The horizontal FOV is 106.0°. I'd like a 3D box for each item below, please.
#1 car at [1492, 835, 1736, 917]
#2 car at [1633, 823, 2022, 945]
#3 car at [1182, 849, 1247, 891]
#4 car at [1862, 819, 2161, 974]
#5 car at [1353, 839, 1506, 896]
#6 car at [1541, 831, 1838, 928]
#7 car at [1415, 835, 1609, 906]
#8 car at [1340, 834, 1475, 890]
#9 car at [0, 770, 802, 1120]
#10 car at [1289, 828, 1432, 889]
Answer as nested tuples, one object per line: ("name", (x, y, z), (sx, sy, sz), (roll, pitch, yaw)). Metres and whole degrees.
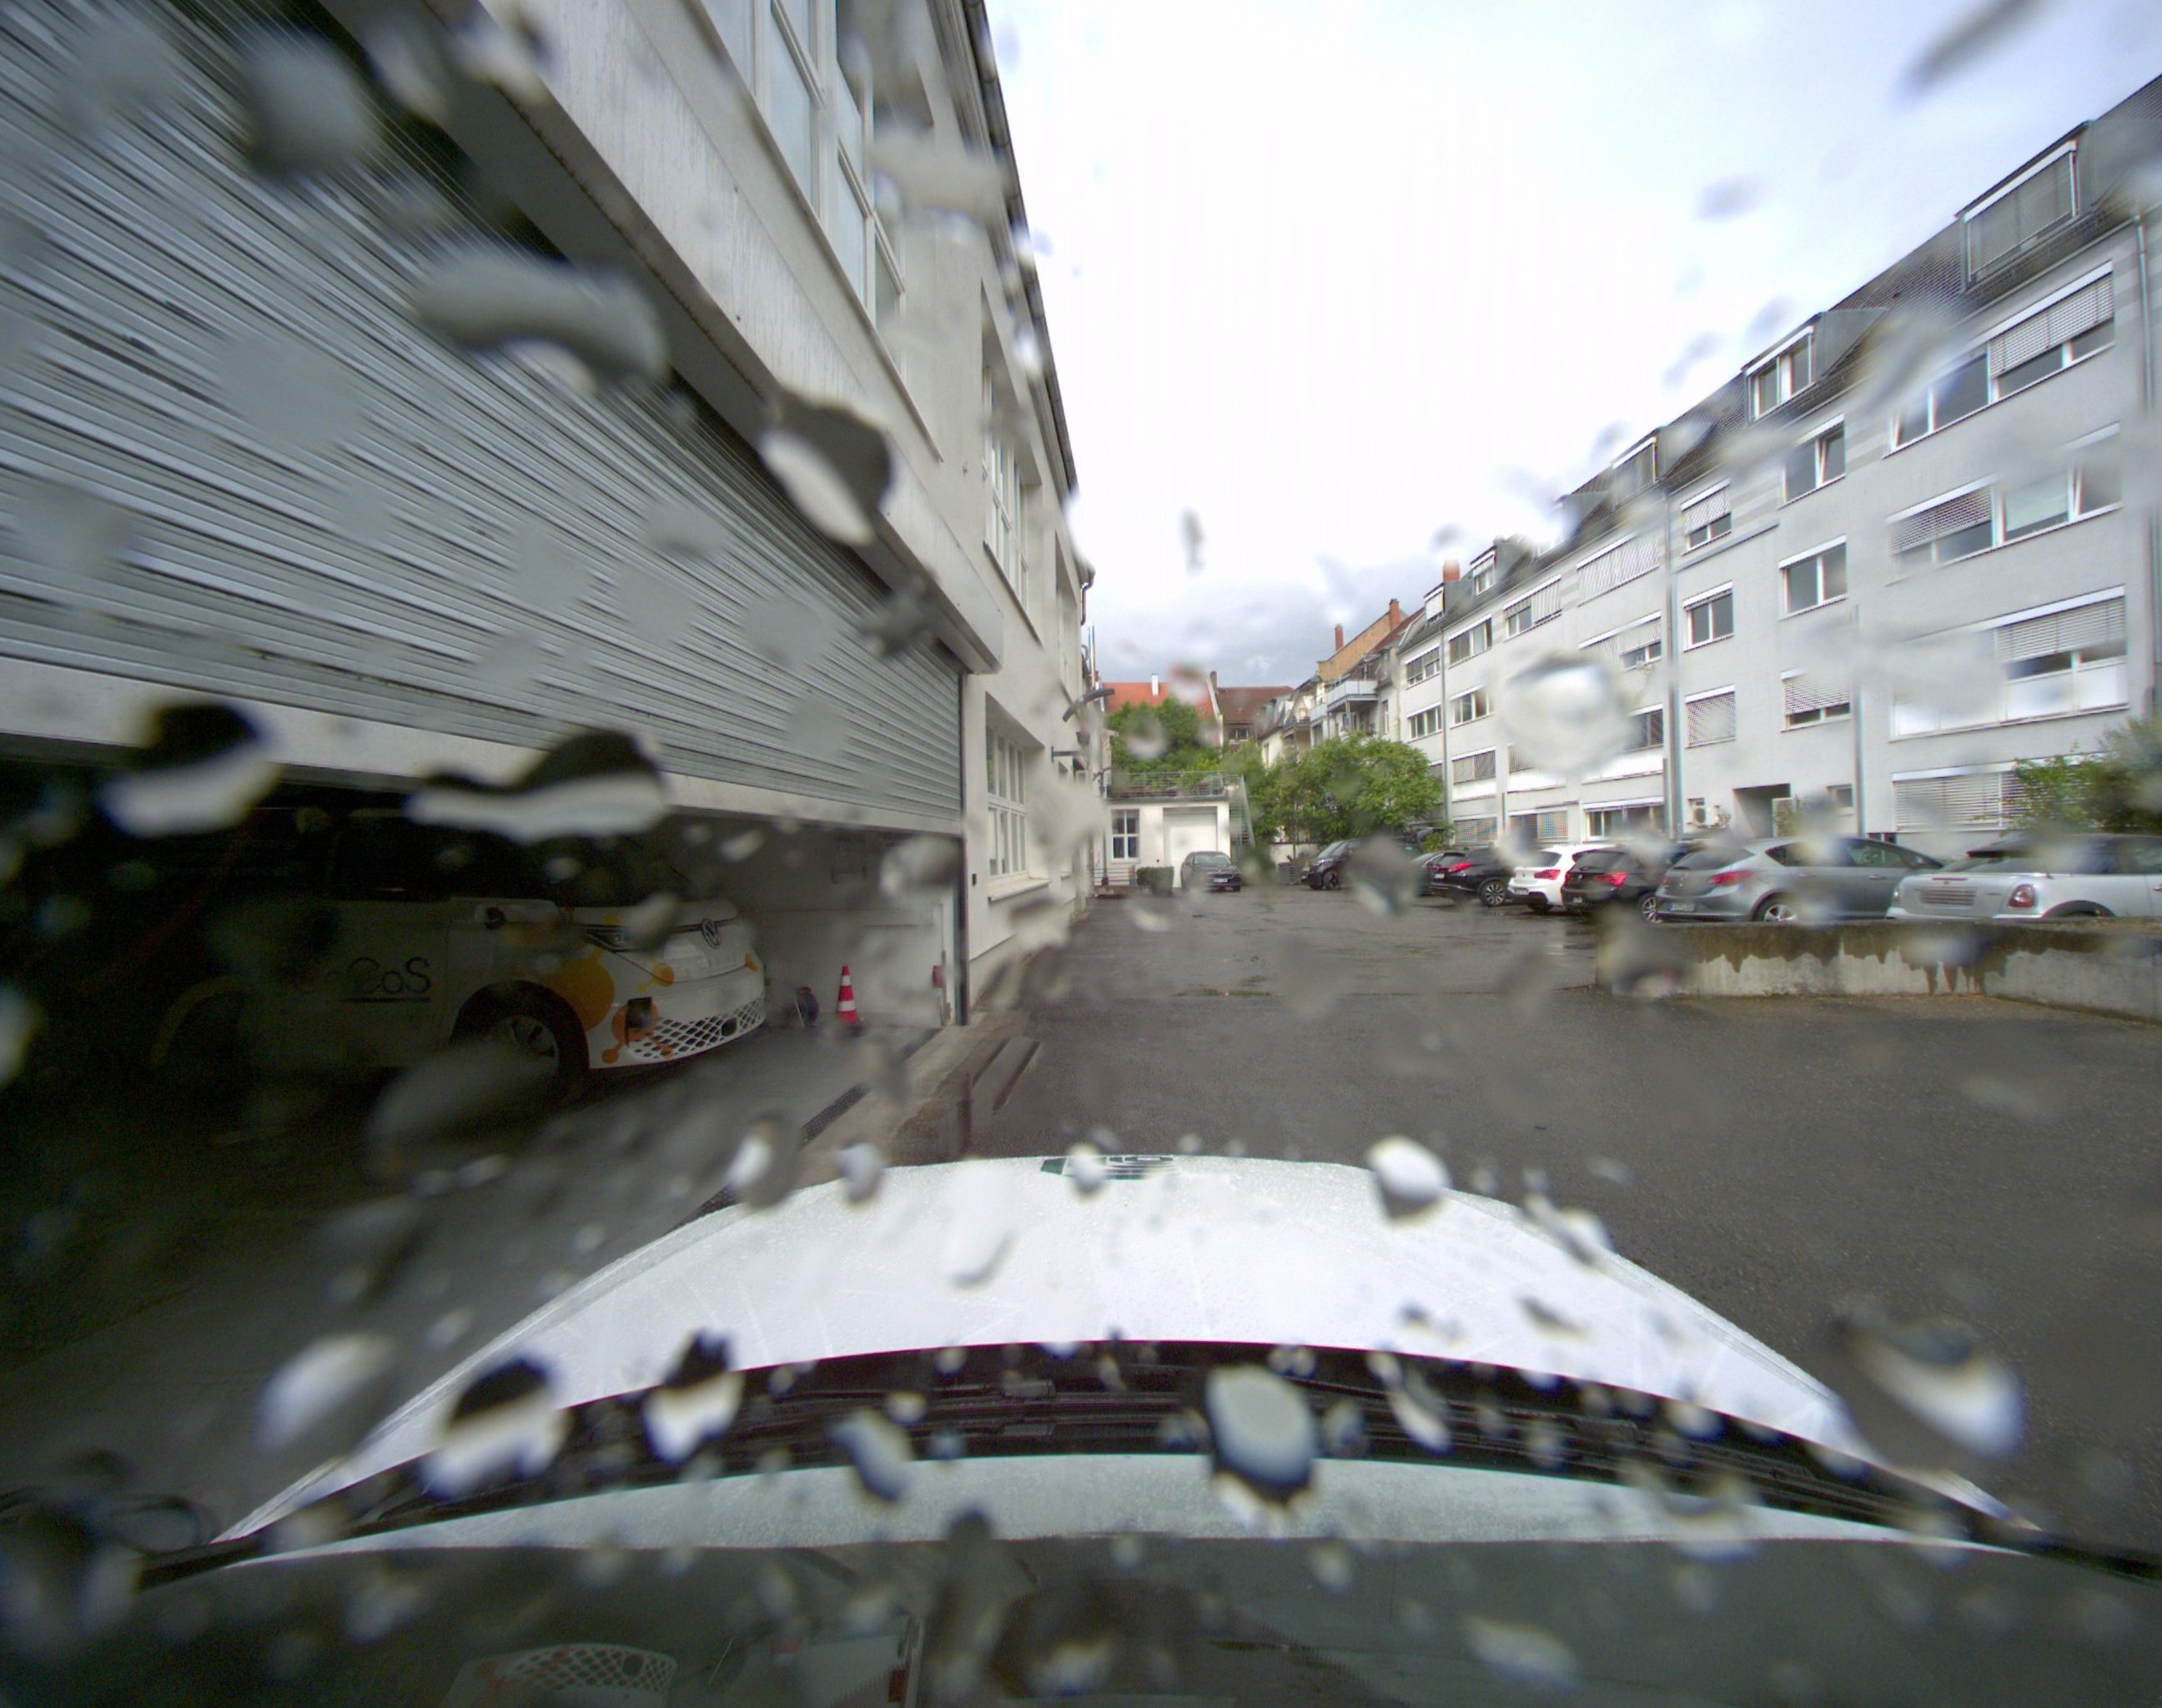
("car", (11.100, 0.437, 17.153), (3.976, 1.458, 1.772), (-2, 0, -1))
("car", (10.706, 0.402, 11.921), (3.973, 1.445, 1.807), (-3, 0, 1))
("car", (5.039, 0.562, 31.208), (1.971, 1.444, 4.002), (-1, 0, 2))
("car", (11.123, 0.393, 8.930), (3.403, 1.427, 1.689), (-3, -1, 1))
("car", (10.624, 0.404, 25.029), (3.897, 1.513, 1.751), (-3, -1, -1))
("car", (10.757, 0.422, 14.597), (3.975, 1.403, 1.772), (-3, 0, -1))
("car", (10.747, 0.399, 20.483), (3.900, 1.513, 1.818), (-3, -1, -3))
("car", (11.260, 0.289, 28.293), (3.893, 1.687, 1.818), (-3, -1, 2))
("car", (-4.728, 0.535, 5.854), (4.669, 2.013, 2.087), (0, 0, 4))
("car", (10.595, 0.146, 31.095), (4.630, 2.003, 2.220), (-3, 0, -6))
